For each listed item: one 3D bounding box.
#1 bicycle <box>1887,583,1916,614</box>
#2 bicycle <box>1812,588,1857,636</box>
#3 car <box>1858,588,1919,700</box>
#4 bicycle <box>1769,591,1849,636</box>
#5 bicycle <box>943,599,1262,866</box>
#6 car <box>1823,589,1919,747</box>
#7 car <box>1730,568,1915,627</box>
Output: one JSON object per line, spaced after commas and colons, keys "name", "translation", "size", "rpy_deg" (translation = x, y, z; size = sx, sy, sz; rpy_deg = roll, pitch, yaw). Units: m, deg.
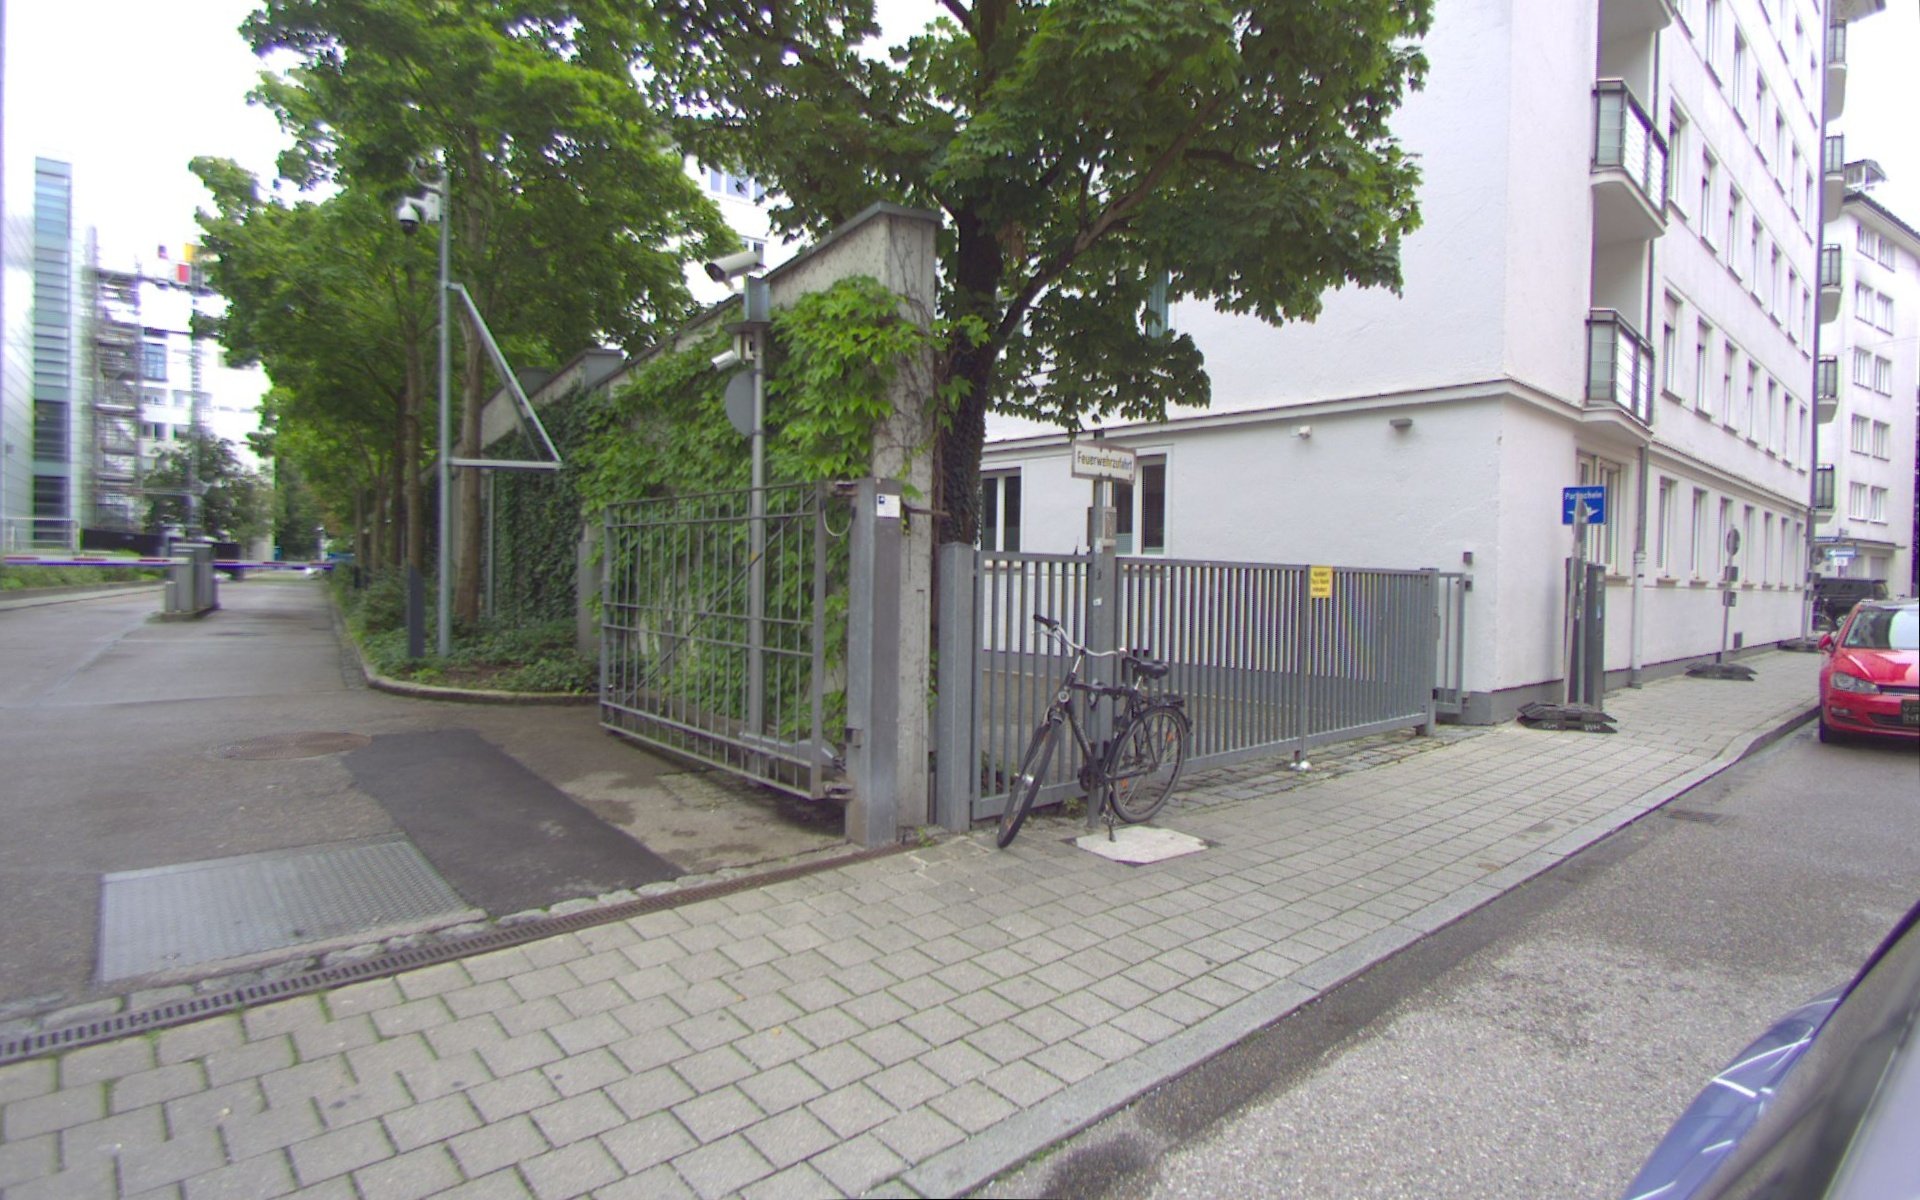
{"name": "bicycle", "translation": [38.853, -0.068, 41.755], "size": [1.579, 1.229, 0.529], "rpy_deg": [0, 2, -35]}
{"name": "bicycle", "translation": [23.631, 0.305, 27.359], "size": [0.394, 1.219, 1.495], "rpy_deg": [3, 3, 22]}
{"name": "car", "translation": [14.313, 0.561, 14.420], "size": [4.308, 1.457, 1.797], "rpy_deg": [-1, 1, -42]}
{"name": "bicycle", "translation": [22.091, 0.341, 26.353], "size": [1.489, 1.056, 0.395], "rpy_deg": [4, 3, 30]}
{"name": "bicycle", "translation": [0.840, 0.654, 5.575], "size": [1.802, 1.213, 0.708], "rpy_deg": [4, -1, -42]}
{"name": "car", "translation": [10.487, 0.617, 10.910], "size": [1.759, 1.465, 4.235], "rpy_deg": [0, 1, 41]}
{"name": "car", "translation": [30.763, -0.133, 36.243], "size": [1.896, 1.914, 4.685], "rpy_deg": [1, 2, -34]}
